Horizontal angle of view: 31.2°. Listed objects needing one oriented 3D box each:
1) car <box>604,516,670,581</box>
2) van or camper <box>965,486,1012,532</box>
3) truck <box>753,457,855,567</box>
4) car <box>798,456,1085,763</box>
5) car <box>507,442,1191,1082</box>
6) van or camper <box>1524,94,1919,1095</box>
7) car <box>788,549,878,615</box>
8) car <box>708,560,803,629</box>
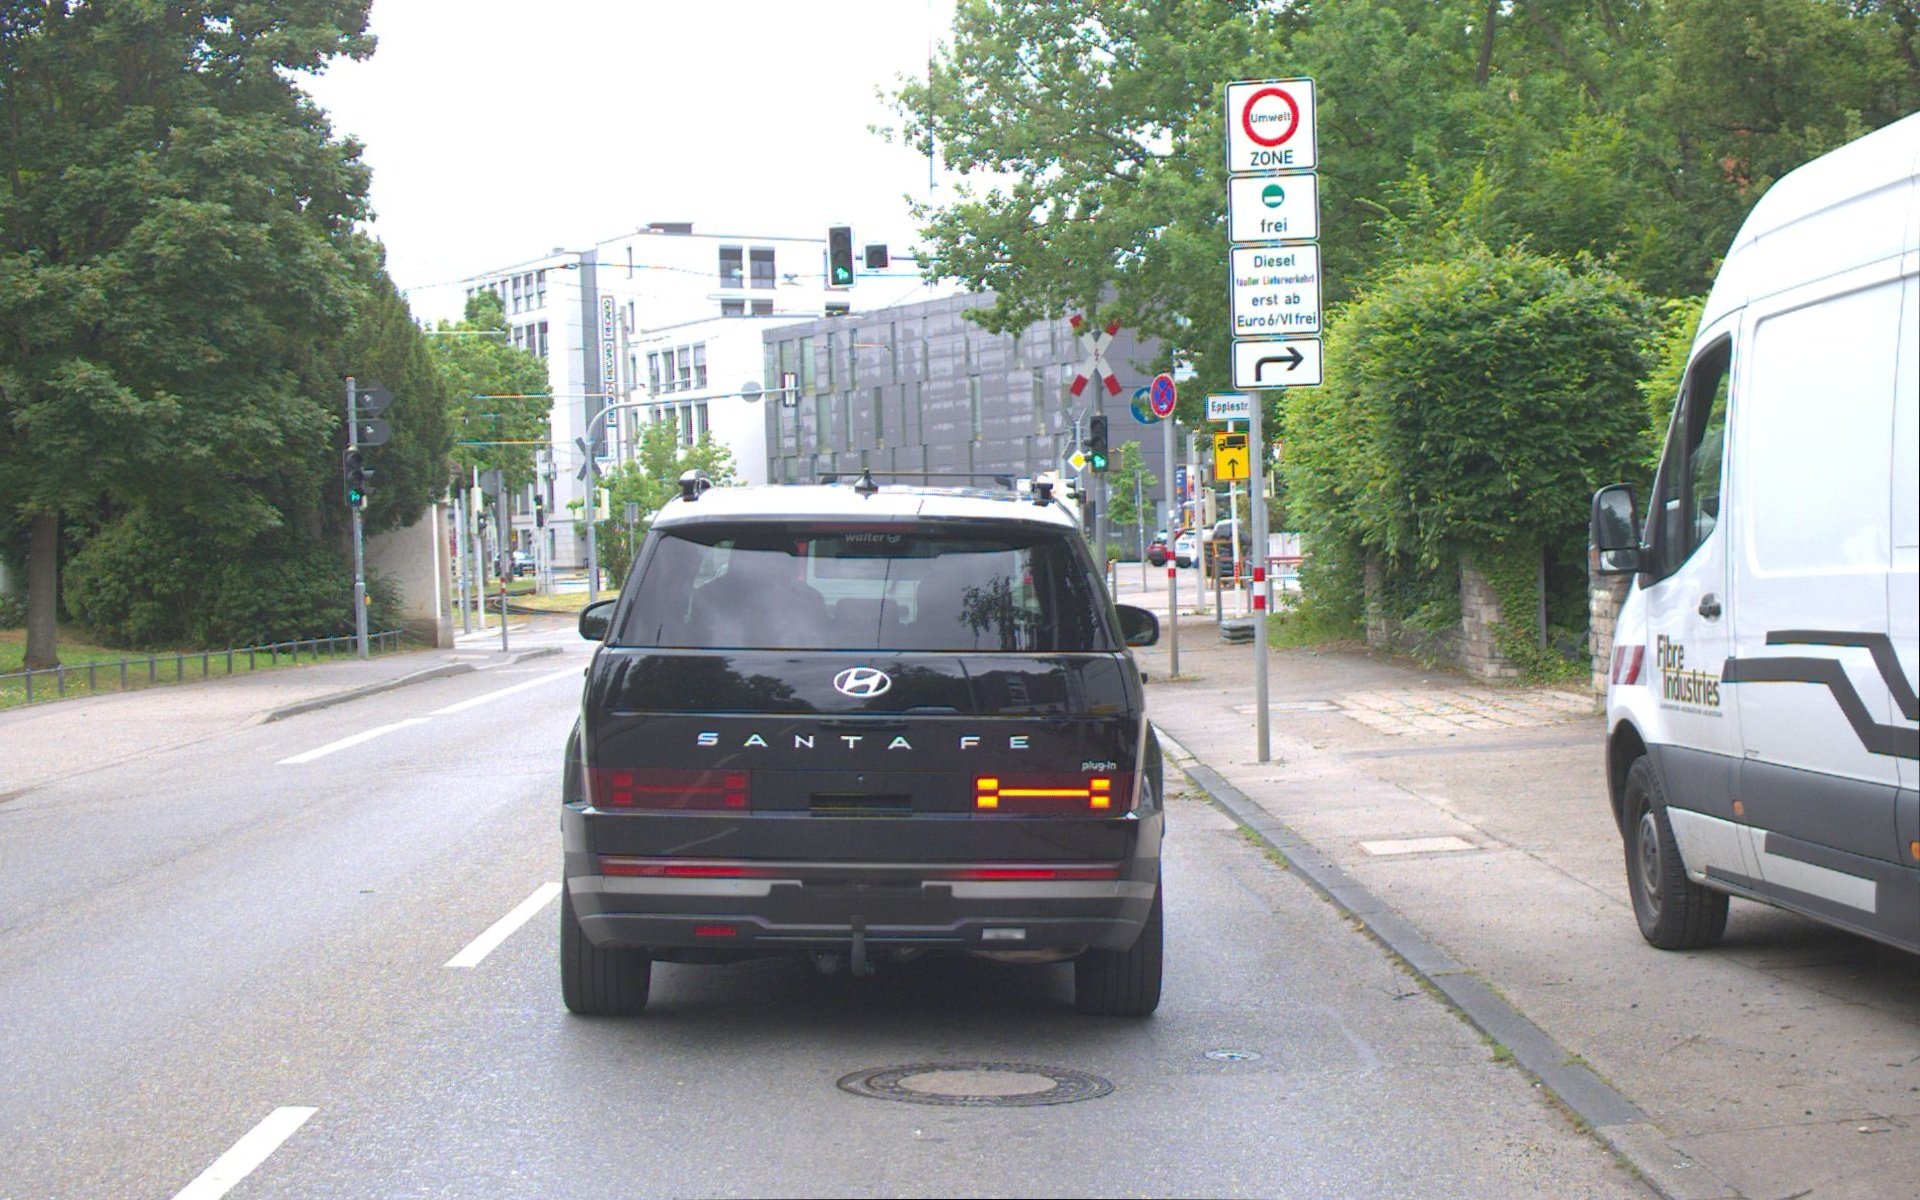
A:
[{"bbox_3d":[-12.073,-1.926,128.181,2.332,2.307,4.959,-2,1,-6],"label":"car"},{"bbox_3d":[1.297,-4.128,156.605,1.795,1.992,3.824,2,1,-4],"label":"van or camper"},{"bbox_3d":[-5.871,-3.223,127.634,3.107,3.846,9.623,-2,1,-6],"label":"truck"},{"bbox_3d":[-0.134,0.041,25.385,1.897,2.035,3.994,2,1,0],"label":"car"},{"bbox_3d":[-0.327,0.440,11.775,1.897,1.770,3.994,2,1,0],"label":"car"},{"bbox_3d":[3.504,-0.060,9.390,2.340,2.486,6.603,-4,0,-3],"label":"van or camper"},{"bbox_3d":[-3.301,-0.483,88.749,1.883,1.633,3.899,-2,1,-8],"label":"car"},{"bbox_3d":[-4.509,-0.134,75.368,1.883,1.415,4.001,-2,1,-6],"label":"car"}]
